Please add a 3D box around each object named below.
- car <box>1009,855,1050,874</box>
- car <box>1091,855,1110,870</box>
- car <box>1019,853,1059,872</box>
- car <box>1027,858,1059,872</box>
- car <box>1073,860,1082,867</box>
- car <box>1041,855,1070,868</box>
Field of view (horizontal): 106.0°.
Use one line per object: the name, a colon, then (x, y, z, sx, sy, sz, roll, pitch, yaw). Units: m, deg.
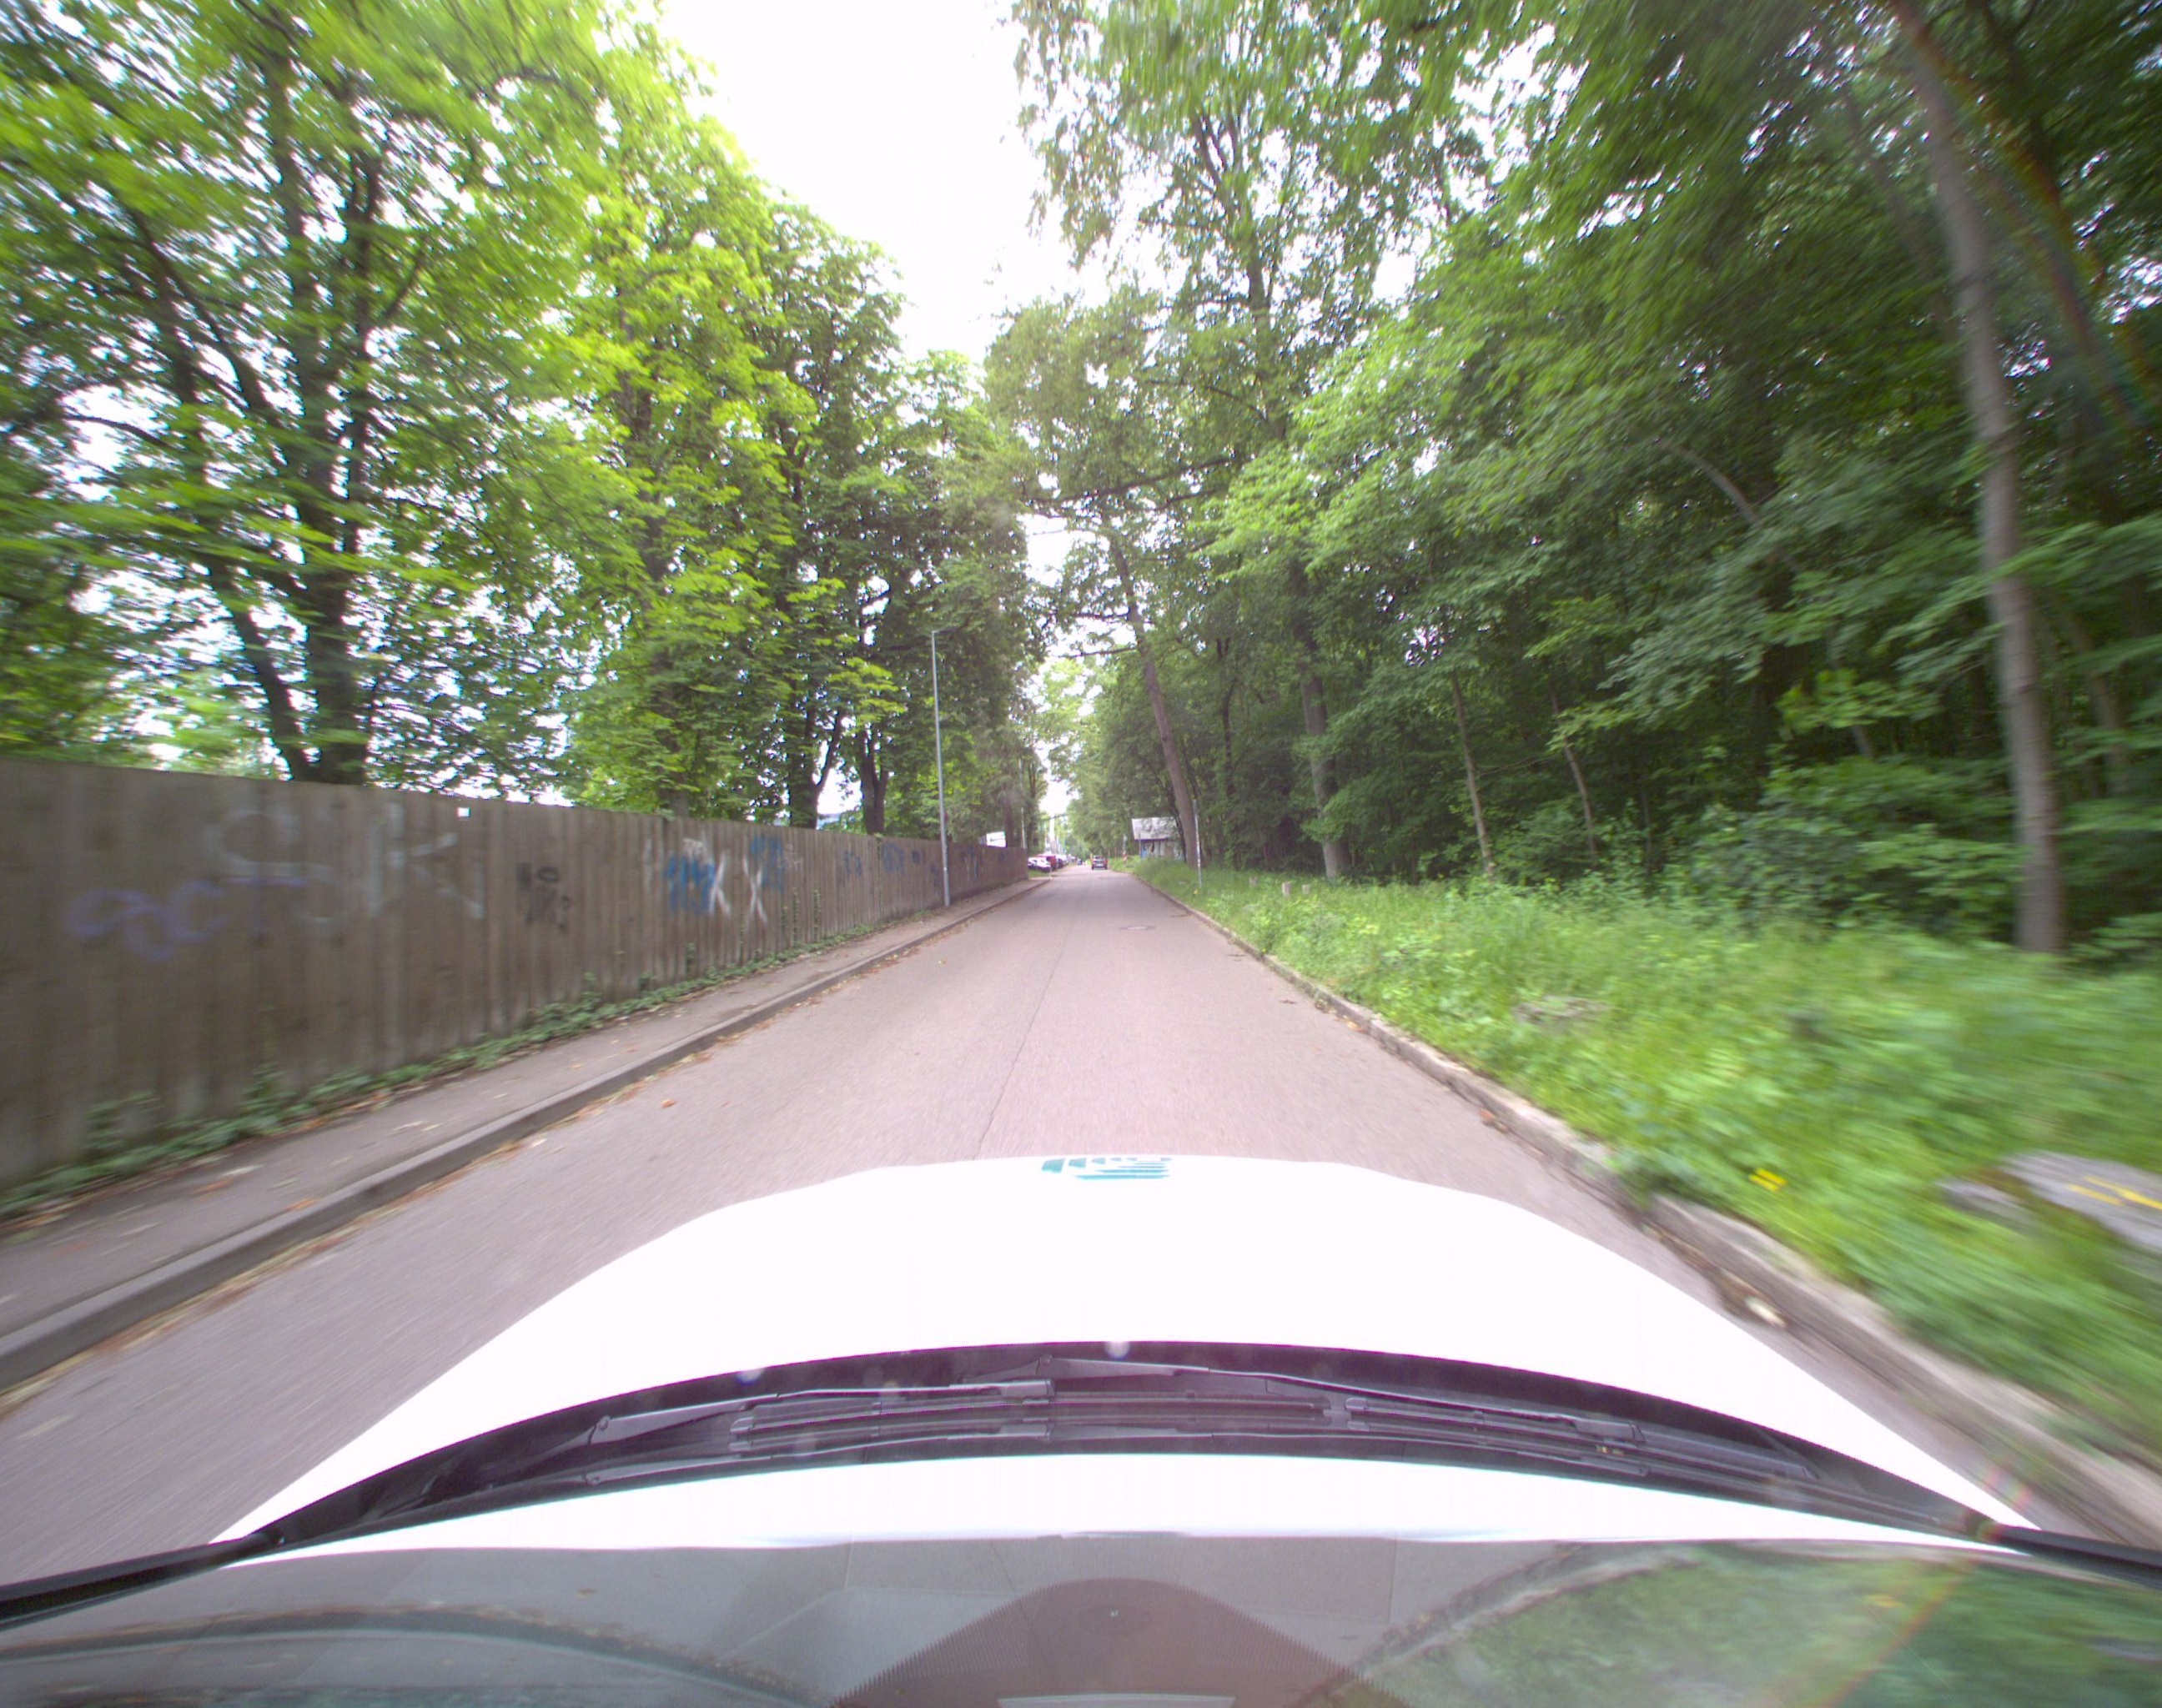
car: (-5.107, 1.038, 81.081, 3.978, 1.574, 1.998, -3, 0, -3)
car: (2.048, 0.929, 85.511, 1.900, 1.508, 4.002, -1, -1, 2)
car: (-4.467, 0.849, 86.289, 3.973, 1.750, 2.000, -3, 0, 1)
car: (-4.409, 1.259, 94.399, 3.560, 1.407, 1.650, -4, -1, 1)
car: (-0.936, 2.651, 228.573, 1.990, 2.013, 3.994, -4, 0, -4)
car: (-3.784, 1.069, 121.114, 3.974, 1.596, 1.765, -5, -1, 0)
